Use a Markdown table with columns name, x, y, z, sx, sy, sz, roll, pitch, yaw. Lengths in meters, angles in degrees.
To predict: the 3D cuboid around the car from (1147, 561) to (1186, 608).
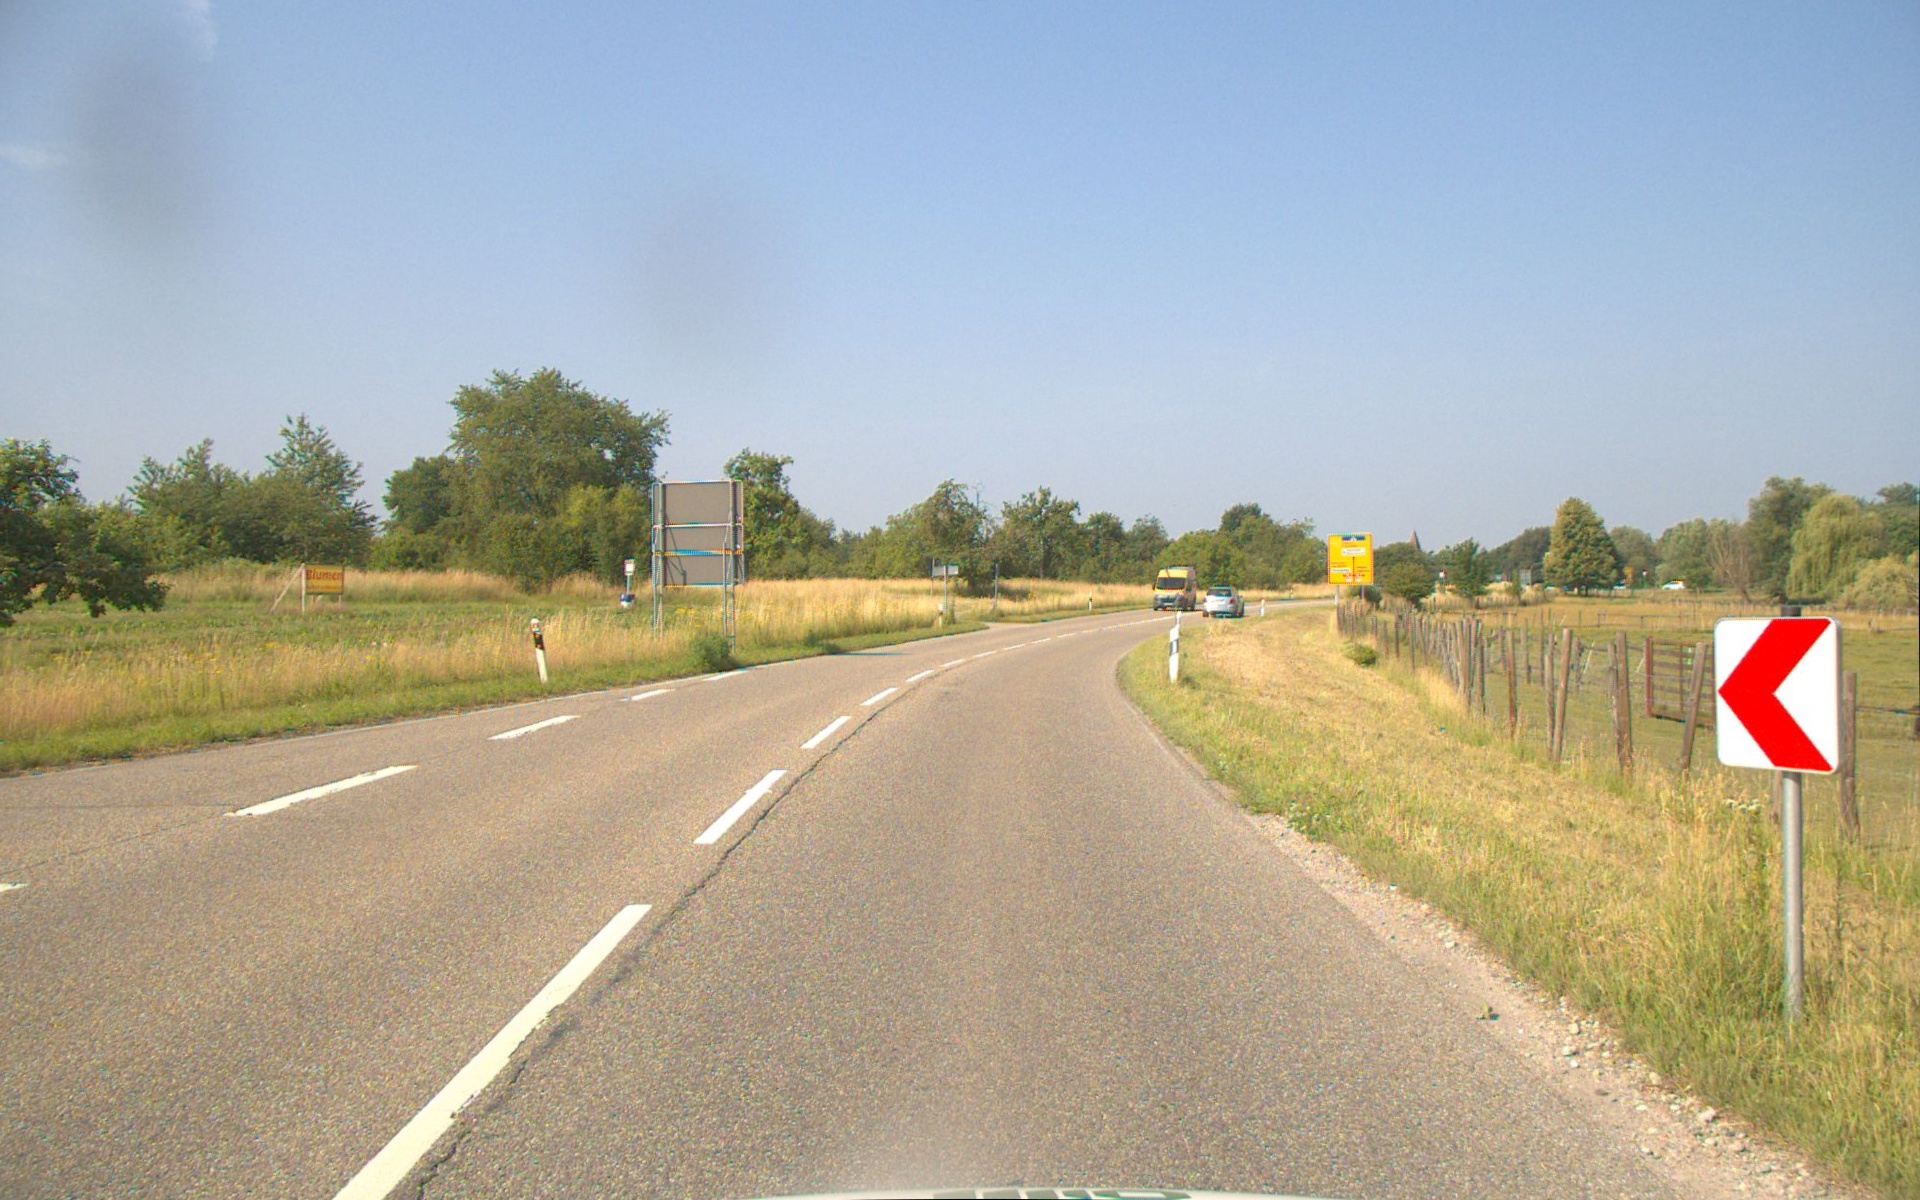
| name | x | y | z | sx | sy | sz | roll | pitch | yaw |
| --- | --- | --- | --- | --- | --- | --- | --- | --- | --- |
| car | 12.693 | -0.945 | 101.441 | 2.078 | 2.743 | 5.273 | 1 | 0 | 10 |

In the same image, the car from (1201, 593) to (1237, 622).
| name | x | y | z | sx | sy | sz | roll | pitch | yaw |
| --- | --- | --- | --- | --- | --- | --- | --- | --- | --- |
| car | 14.131 | 0.399 | 90.395 | 1.858 | 1.538 | 4.003 | 1 | 0 | 8 |
